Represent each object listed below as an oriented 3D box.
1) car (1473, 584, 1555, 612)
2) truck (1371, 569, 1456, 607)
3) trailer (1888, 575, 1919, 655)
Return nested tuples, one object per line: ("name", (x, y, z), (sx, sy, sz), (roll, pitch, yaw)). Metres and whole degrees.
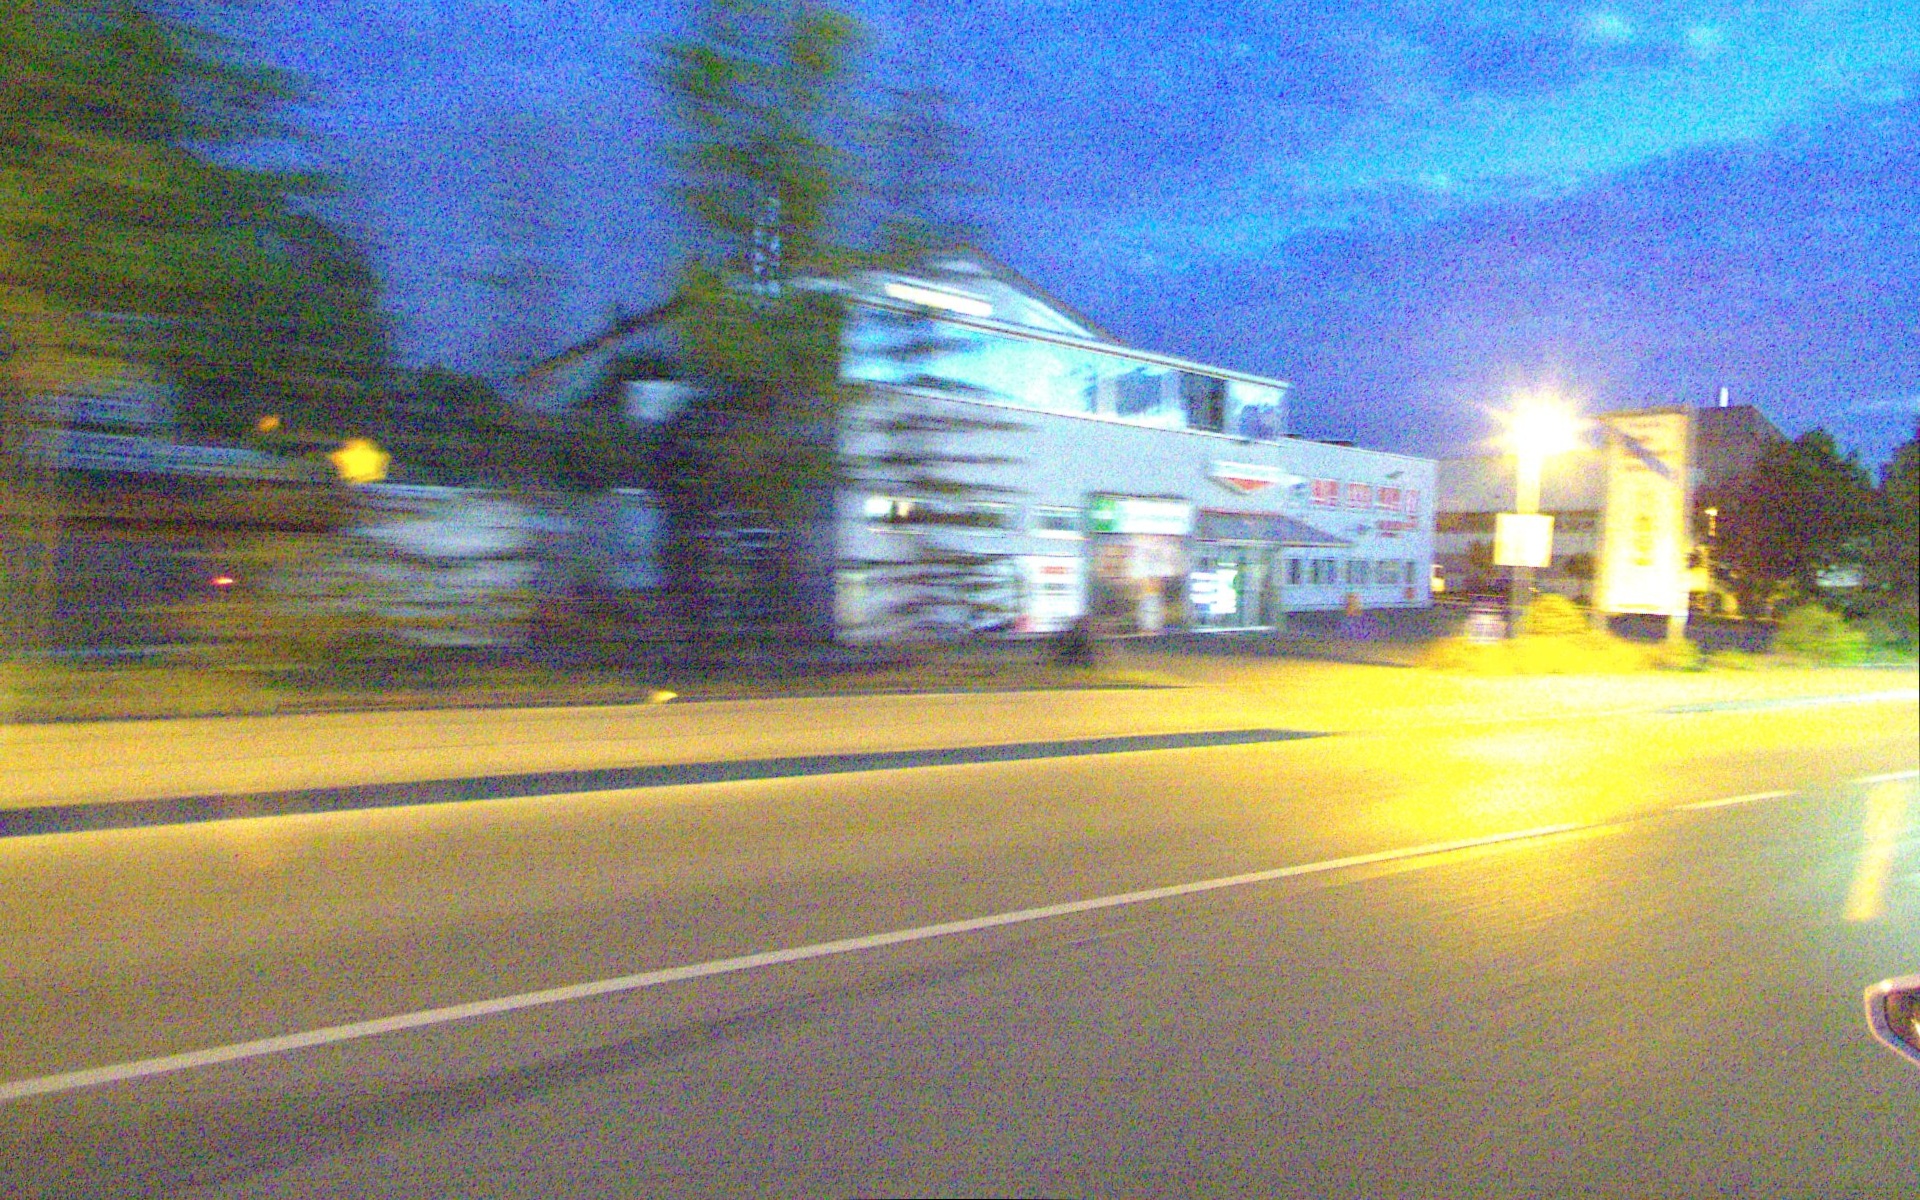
("car", (36.327, -0.155, 65.963), (1.897, 1.611, 4.292), (0, 3, -43))
("truck", (31.873, -0.879, 70.695), (4.974, 2.422, 2.149), (4, 3, 45))
("trailer", (34.637, 0.550, 33.998), (1.976, 2.756, 4.328), (0, 1, -29))
